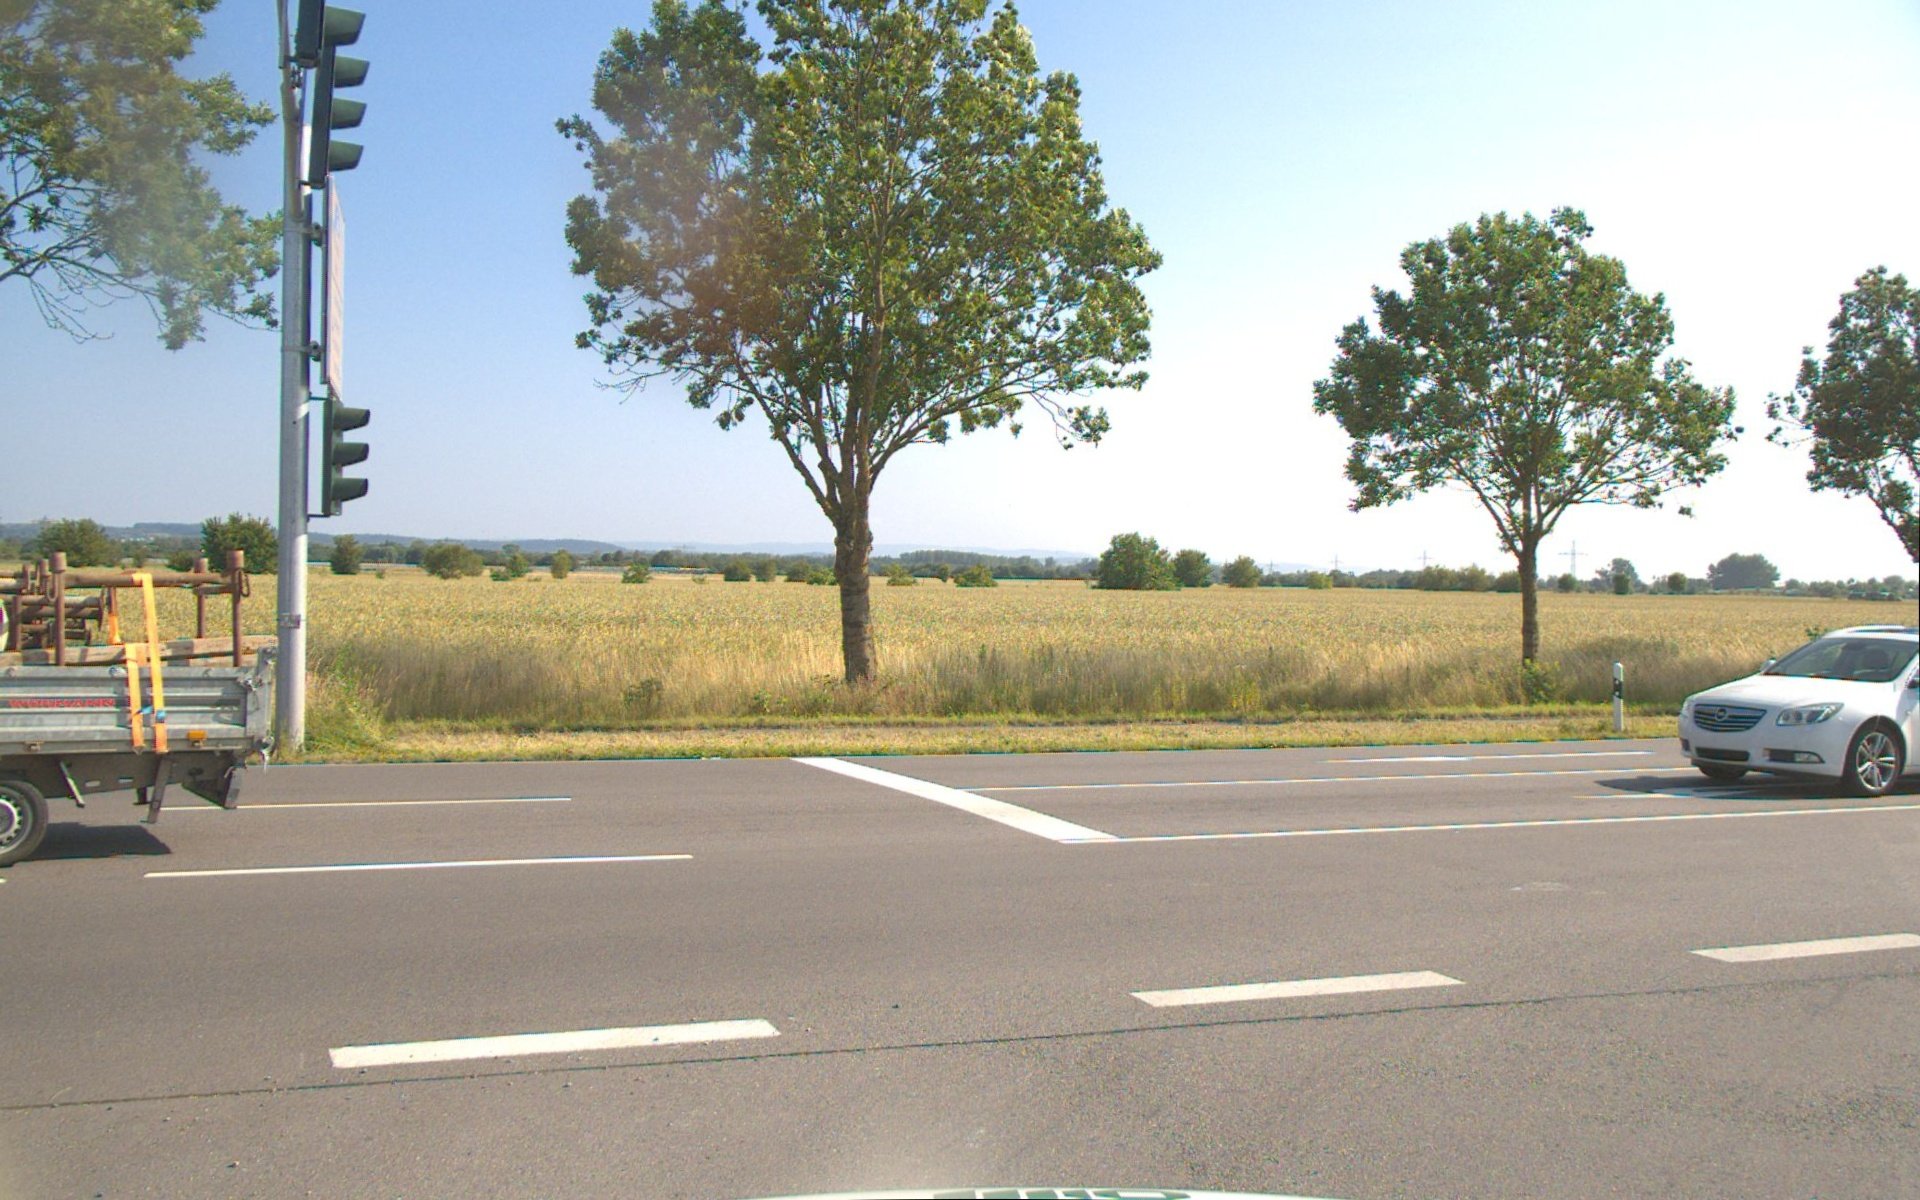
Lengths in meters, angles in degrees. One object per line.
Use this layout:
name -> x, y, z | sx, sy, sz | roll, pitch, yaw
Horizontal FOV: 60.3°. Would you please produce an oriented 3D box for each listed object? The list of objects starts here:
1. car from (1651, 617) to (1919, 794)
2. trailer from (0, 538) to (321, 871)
car -> 9.110, 0.951, 16.037 | 4.629, 1.518, 1.752 | 1, -1, -23
trailer -> -6.345, 0.536, 9.125 | 4.951, 1.768, 1.957 | 2, -1, -34
